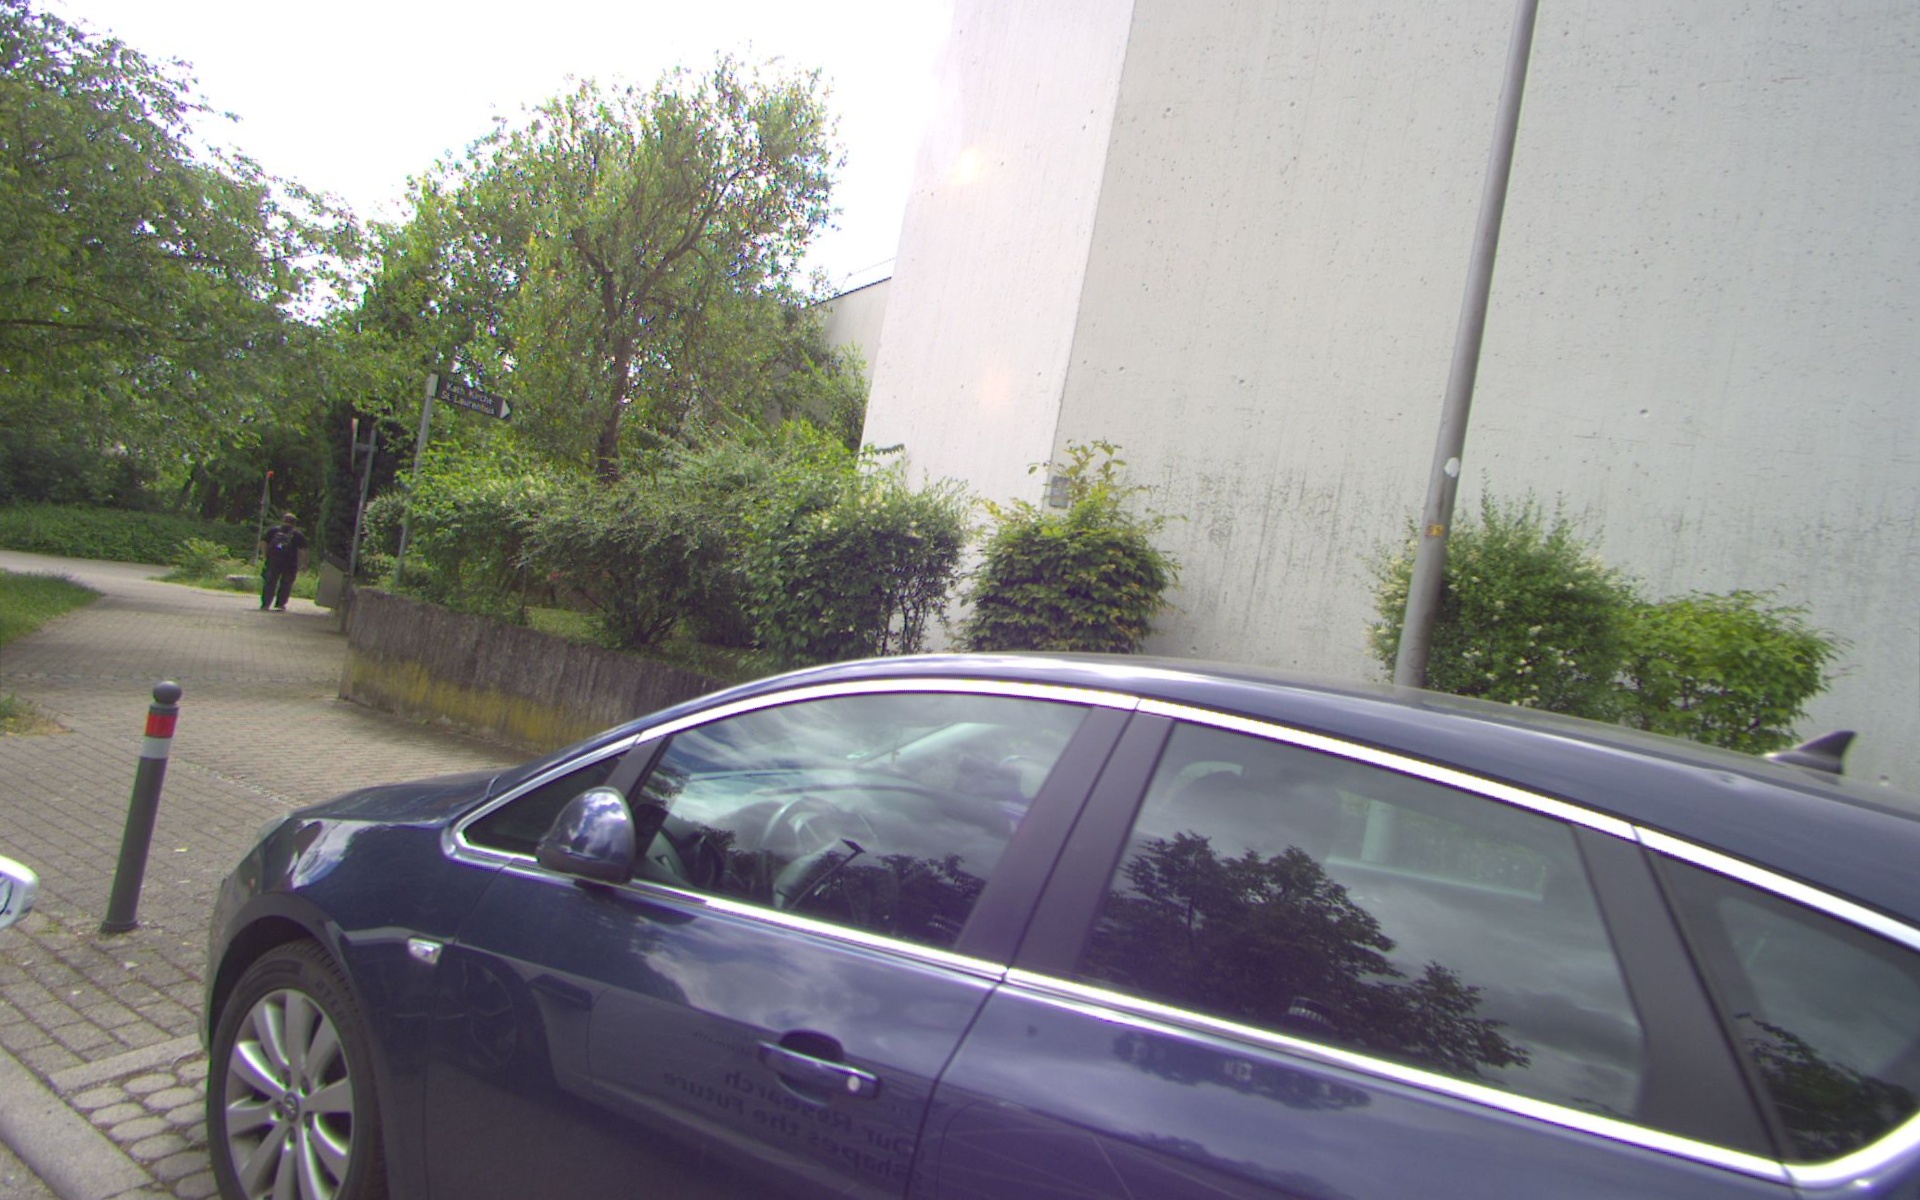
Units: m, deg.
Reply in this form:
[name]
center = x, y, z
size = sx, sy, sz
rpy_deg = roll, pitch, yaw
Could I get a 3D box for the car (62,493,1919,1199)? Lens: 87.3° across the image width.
[car]
center = -0.002, 0.736, 2.191
size = 3.932, 1.437, 1.694
rpy_deg = 7, -1, 30

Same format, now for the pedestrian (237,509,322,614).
[pedestrian]
center = -12.355, -0.688, 18.289
size = 0.772, 1.757, 0.834
rpy_deg = 7, -1, 26
